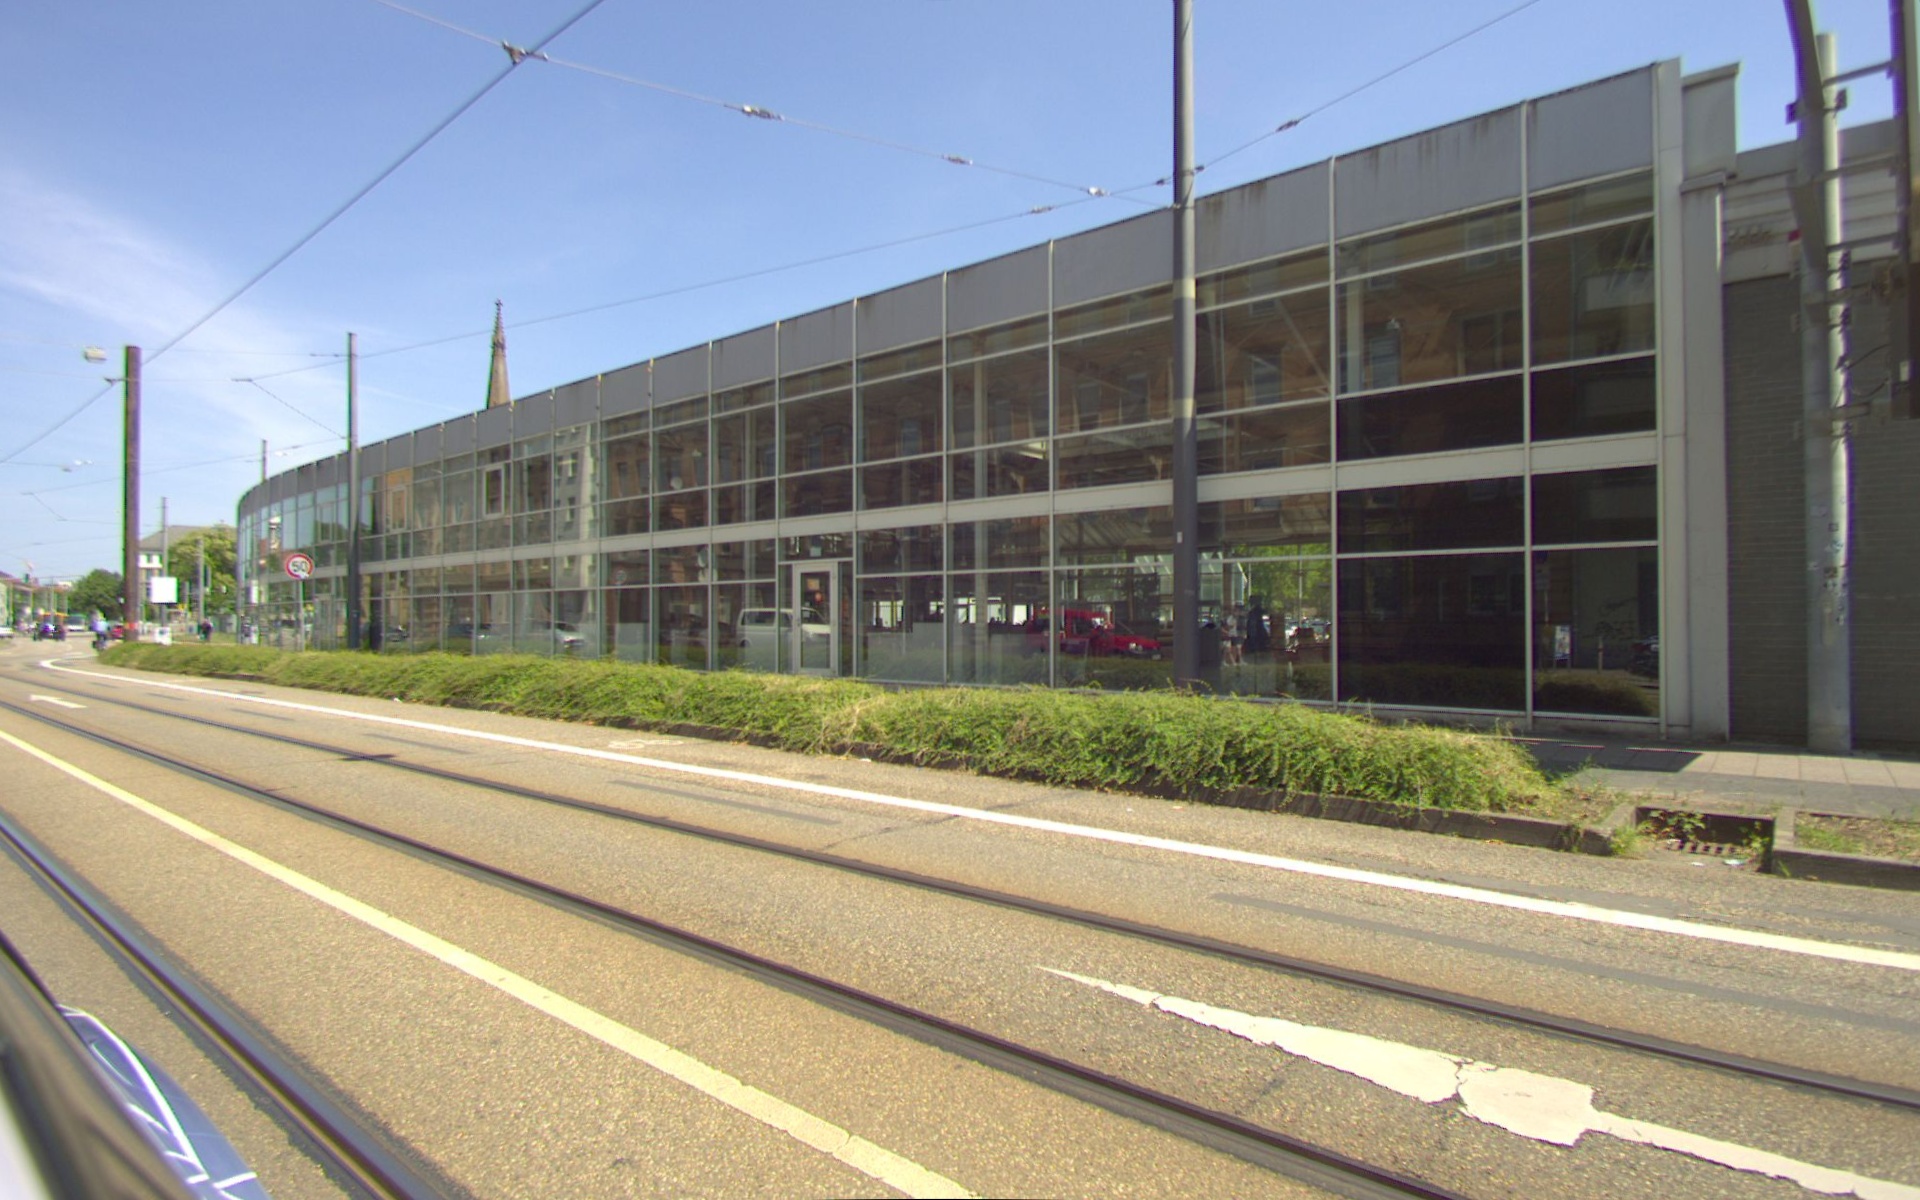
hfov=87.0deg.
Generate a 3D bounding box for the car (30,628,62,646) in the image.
[{"bbox_3d":[-83.686,3.391,92.680,4.526,1.639,1.801,-2,-3,44],"label":"car"}]

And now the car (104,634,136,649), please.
[{"bbox_3d":[-79.781,3.900,96.086,4.287,1.377,1.739,-2,-2,42],"label":"car"}]

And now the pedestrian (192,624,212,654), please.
[{"bbox_3d":[-41.145,2.116,54.950,0.820,1.654,0.719,-2,-2,44],"label":"pedestrian"}]

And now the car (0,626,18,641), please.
[{"bbox_3d":[-101.500,3.496,107.124,5.128,1.542,1.973,-1,-3,41],"label":"car"}]

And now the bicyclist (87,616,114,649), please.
[{"bbox_3d":[-41.025,1.562,48.291,0.688,1.560,0.983,1,-2,-23],"label":"bicyclist"}]

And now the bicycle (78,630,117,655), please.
[{"bbox_3d":[-40.987,2.003,48.130,0.688,1.153,2.504,1,-2,-23],"label":"bicycle"}]
